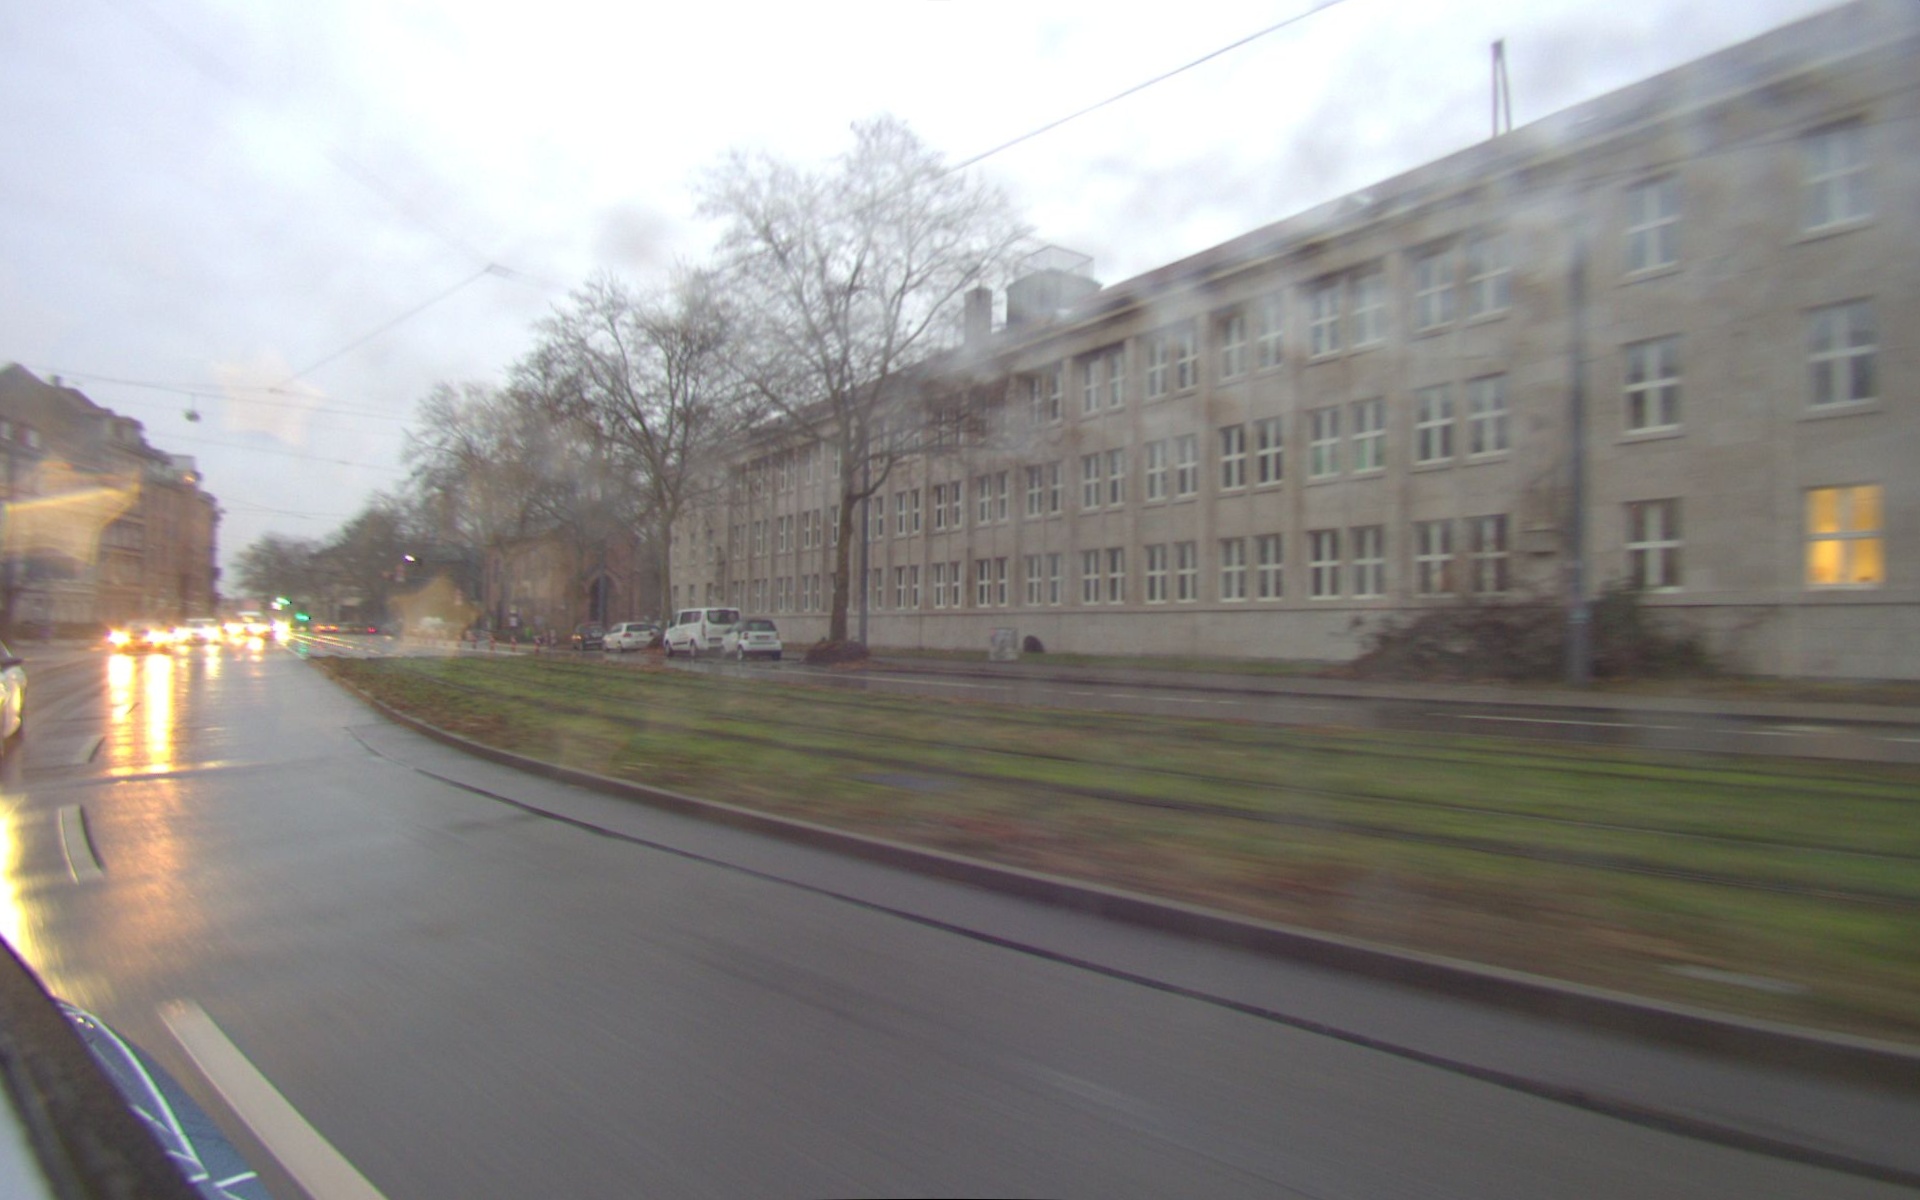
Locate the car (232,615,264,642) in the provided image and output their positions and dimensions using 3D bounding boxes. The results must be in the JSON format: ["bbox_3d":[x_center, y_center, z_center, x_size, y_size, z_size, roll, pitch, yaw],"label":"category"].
[{"bbox_3d":[-66.002,2.604,93.881,2.095,2.398,5.654,-1,0,-32],"label":"car"}]

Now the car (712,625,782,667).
[{"bbox_3d":[-8.083,1.702,38.235,1.535,1.439,2.962,1,-1,-35],"label":"car"}]

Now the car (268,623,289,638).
[{"bbox_3d":[-81.311,3.656,120.774,1.622,1.763,3.565,2,-2,-28],"label":"car"}]

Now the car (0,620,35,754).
[{"bbox_3d":[-11.383,0.966,10.876,1.688,1.423,3.688,-1,0,-36],"label":"car"}]

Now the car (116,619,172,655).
[{"bbox_3d":[-33.667,1.511,41.817,1.564,1.437,3.141,2,-2,-35],"label":"car"}]

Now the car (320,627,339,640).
[{"bbox_3d":[-85.715,4.535,137.549,1.920,1.829,4.012,1,-2,-28],"label":"car"}]

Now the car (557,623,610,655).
[{"bbox_3d":[-20.620,2.097,55.367,1.591,1.673,3.617,2,-2,-40],"label":"car"}]

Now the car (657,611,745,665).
[{"bbox_3d":[-10.772,1.509,41.905,1.967,2.029,4.520,-1,0,-36],"label":"car"}]

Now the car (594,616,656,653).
[{"bbox_3d":[-16.675,1.687,50.217,1.798,1.667,3.868,-1,0,-36],"label":"car"}]

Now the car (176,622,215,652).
[{"bbox_3d":[-46.130,2.204,61.022,1.649,1.672,4.155,-1,0,-40],"label":"car"}]
